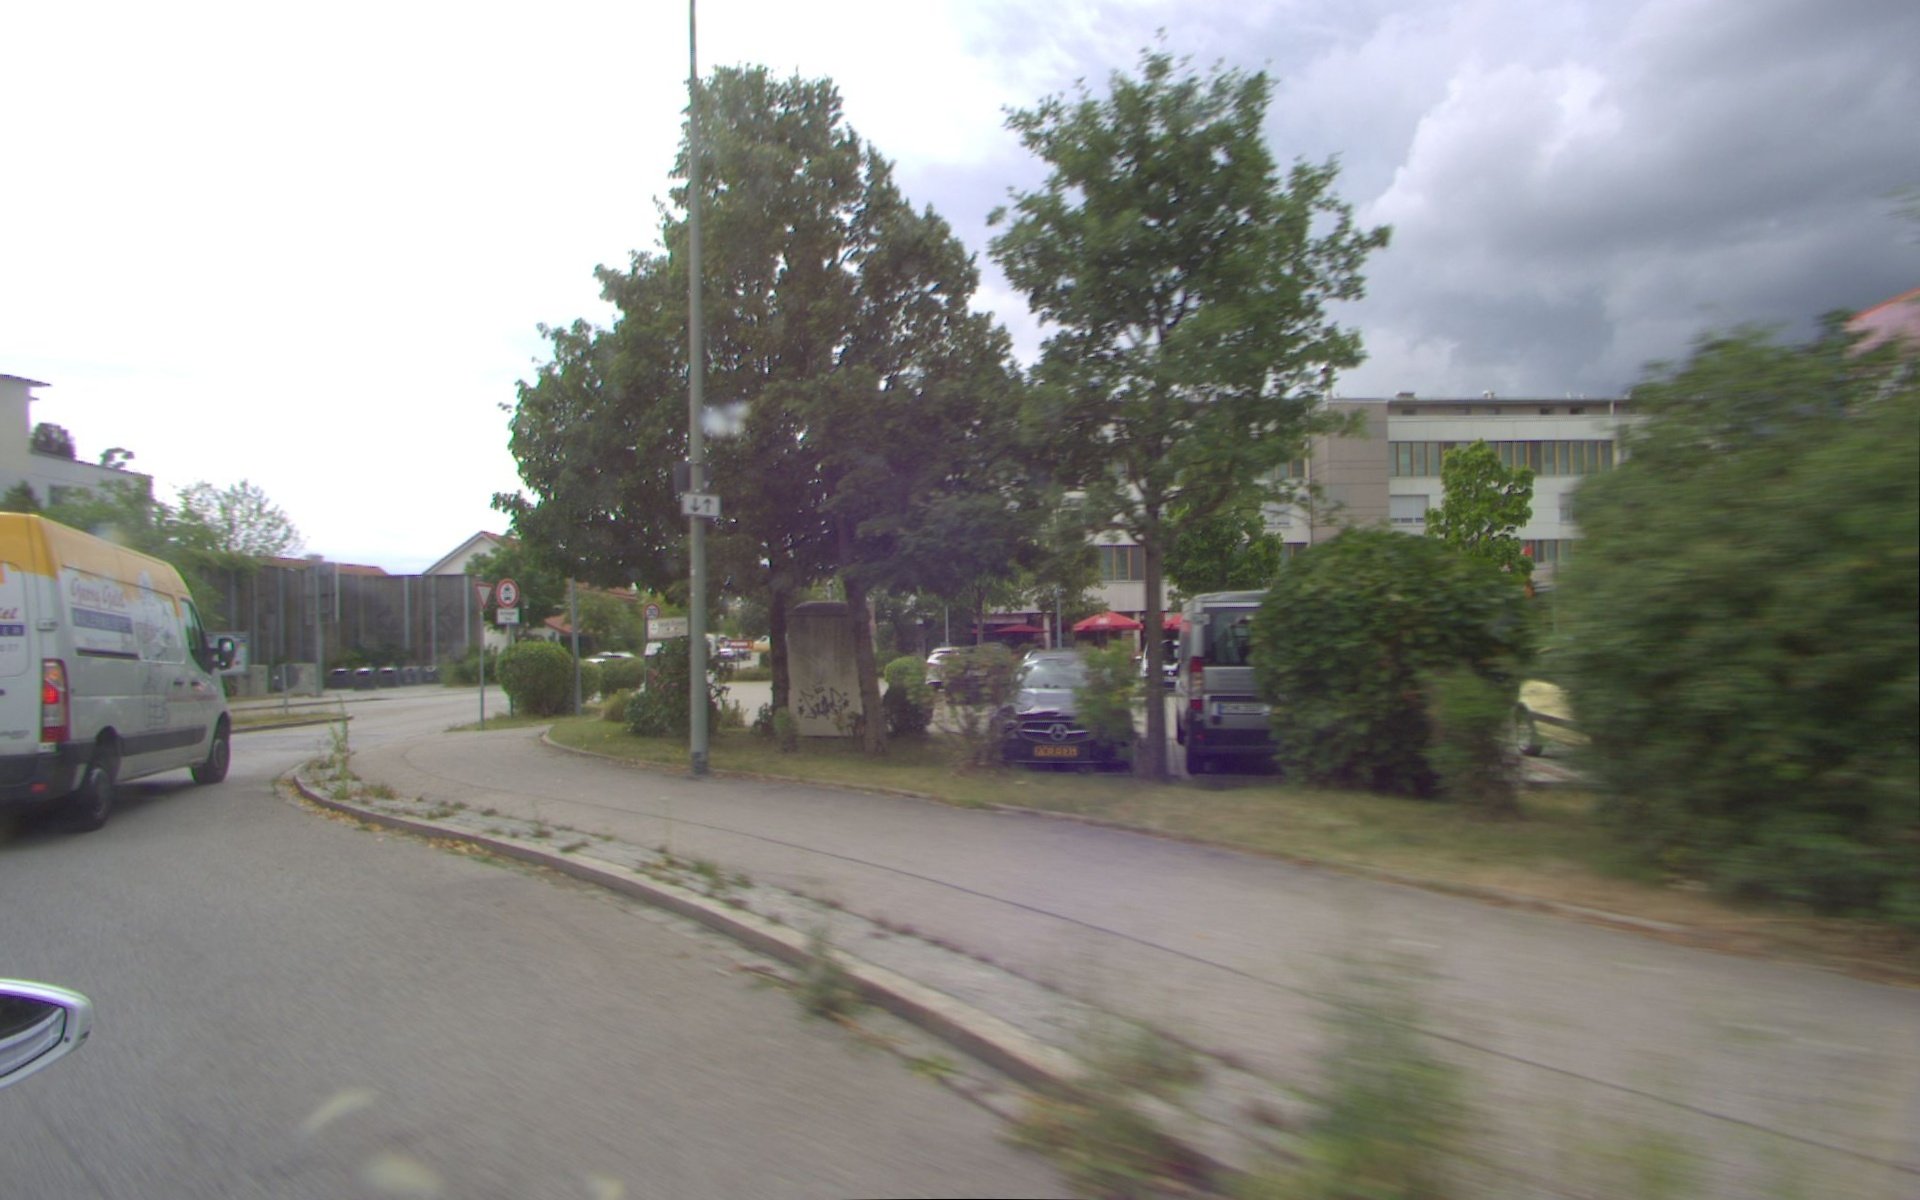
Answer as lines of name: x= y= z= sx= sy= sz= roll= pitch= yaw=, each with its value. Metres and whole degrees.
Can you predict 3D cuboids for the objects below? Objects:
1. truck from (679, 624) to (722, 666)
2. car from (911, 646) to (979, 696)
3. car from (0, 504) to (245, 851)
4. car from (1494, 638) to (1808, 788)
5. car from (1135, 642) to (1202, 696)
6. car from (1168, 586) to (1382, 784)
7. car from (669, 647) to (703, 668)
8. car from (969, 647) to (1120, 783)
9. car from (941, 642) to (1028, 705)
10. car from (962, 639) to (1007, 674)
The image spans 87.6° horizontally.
truck: x=-19.865 y=3.509 z=76.833 sx=2.127 sy=3.114 sz=5.416 roll=-1 pitch=-3 yaw=-3
car: x=-0.408 y=2.258 z=32.088 sx=1.786 sy=1.474 sz=4.004 roll=-1 pitch=-4 yaw=5
car: x=-8.639 y=0.685 z=9.343 sx=2.135 sy=2.482 sz=5.426 roll=1 pitch=-3 yaw=-24
car: x=8.405 y=1.281 z=12.665 sx=1.729 sy=1.576 sz=3.939 roll=-1 pitch=-2 yaw=9
car: x=6.467 y=2.144 z=30.746 sx=1.840 sy=1.528 sz=4.089 roll=-1 pitch=-5 yaw=14
car: x=3.974 y=1.027 z=13.443 sx=2.115 sy=2.186 sz=4.417 roll=-1 pitch=-2 yaw=9
car: x=-19.152 y=3.984 z=70.051 sx=1.512 sy=1.397 sz=3.513 roll=-2 pitch=-2 yaw=-2
car: x=1.318 y=1.440 z=13.882 sx=1.729 sy=1.512 sz=4.417 roll=-1 pitch=-2 yaw=9
car: x=0.721 y=1.846 z=25.916 sx=1.786 sy=1.475 sz=4.001 roll=-1 pitch=-2 yaw=8
car: x=1.172 y=2.553 z=45.816 sx=1.786 sy=1.475 sz=4.002 roll=-1 pitch=-2 yaw=5
